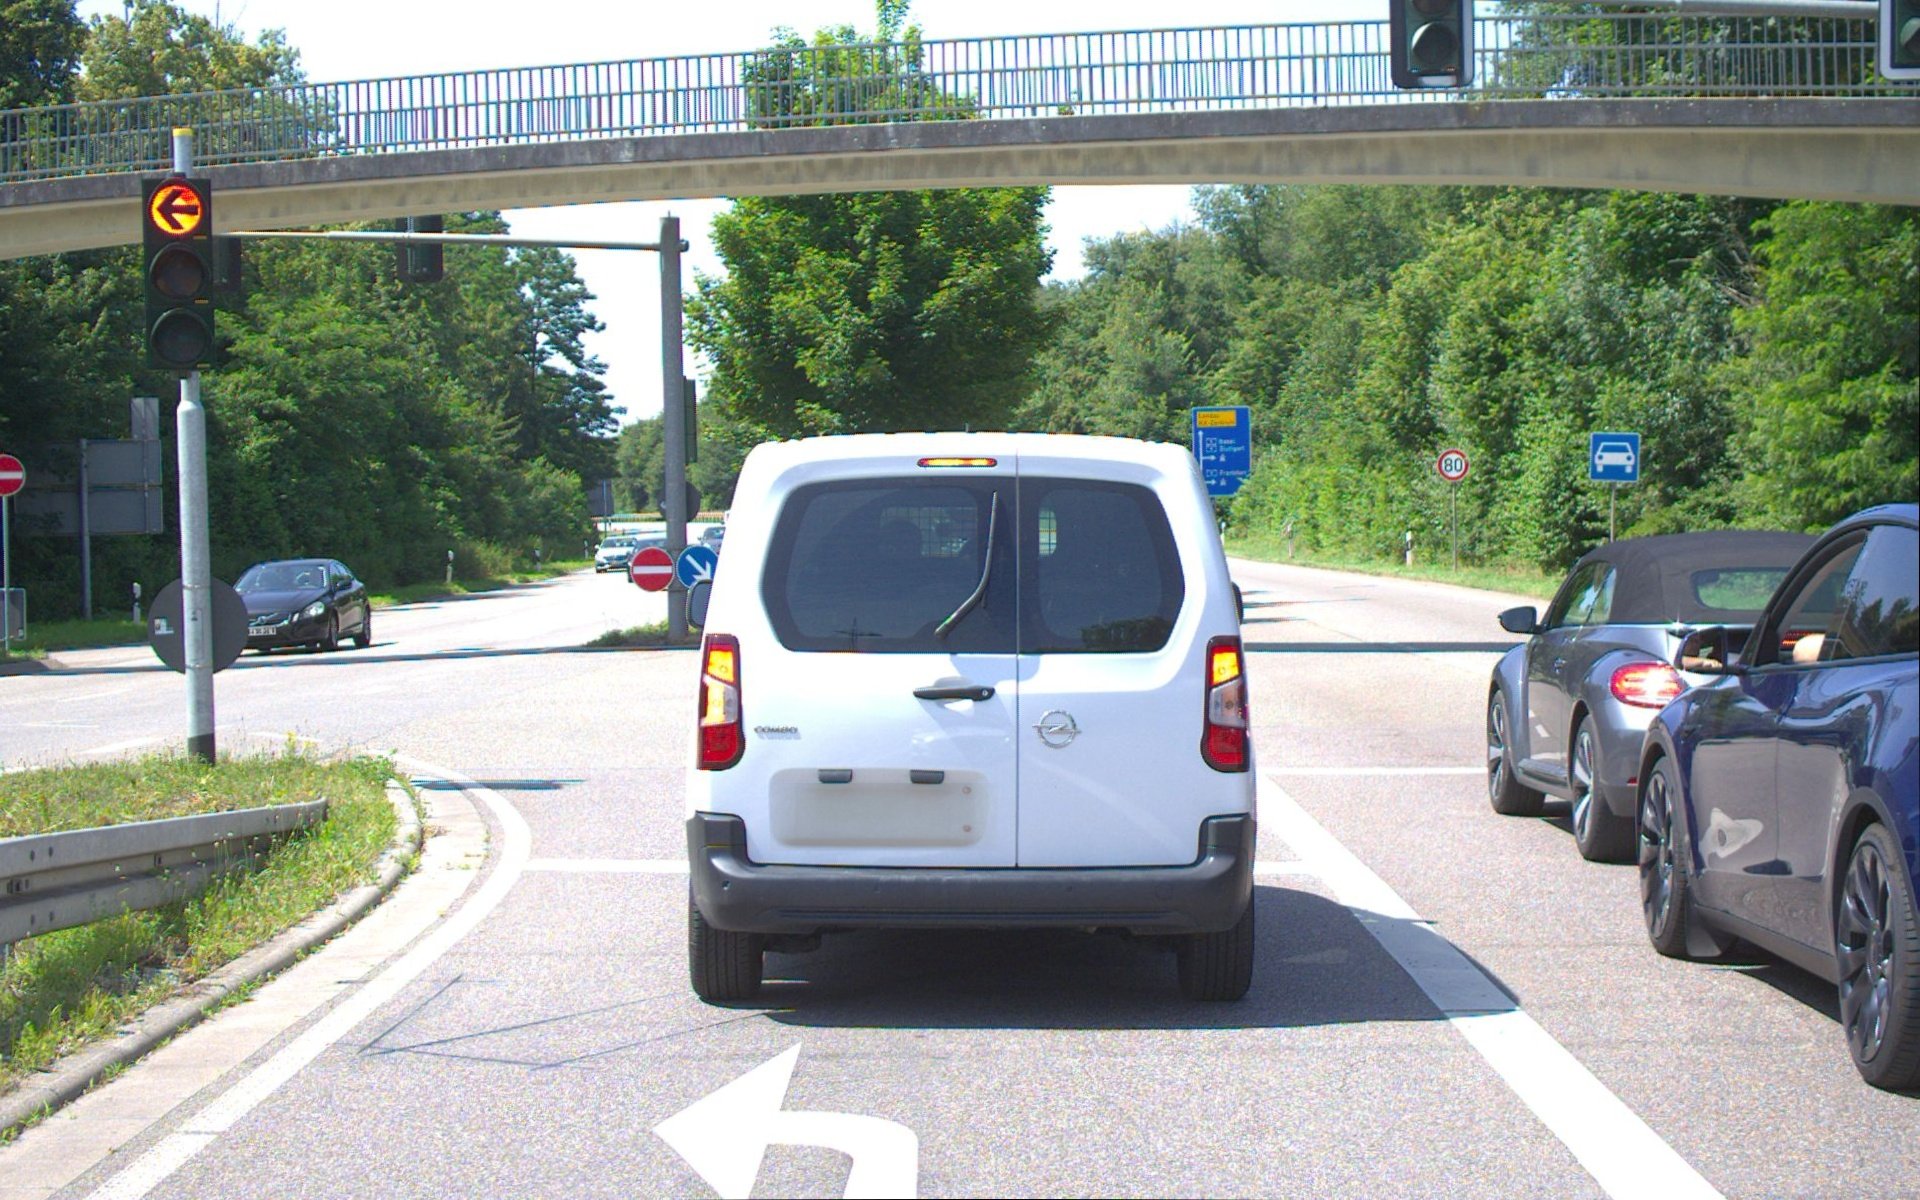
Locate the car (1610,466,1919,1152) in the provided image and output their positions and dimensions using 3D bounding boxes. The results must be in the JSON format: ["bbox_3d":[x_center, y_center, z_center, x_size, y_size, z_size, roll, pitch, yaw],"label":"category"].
[{"bbox_3d":[3.288,0.458,10.239,1.900,1.639,4.520,1,1,1],"label":"car"}]

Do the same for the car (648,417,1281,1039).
[{"bbox_3d":[0.018,0.311,12.132,1.849,1.819,3.982,1,2,0],"label":"car"}]

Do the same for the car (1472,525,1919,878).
[{"bbox_3d":[3.687,0.391,16.564,1.900,1.472,3.939,1,1,1],"label":"car"}]

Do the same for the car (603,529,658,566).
[{"bbox_3d":[-13.406,-2.154,140.241,1.752,1.402,4.000,-1,1,1],"label":"car"}]

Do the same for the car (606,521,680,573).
[{"bbox_3d":[-10.673,-1.795,115.988,1.993,1.659,4.000,-1,1,1],"label":"car"}]

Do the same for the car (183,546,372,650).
[{"bbox_3d":[-10.543,-0.068,53.367,2.008,1.455,4.055,-2,1,1],"label":"car"}]
